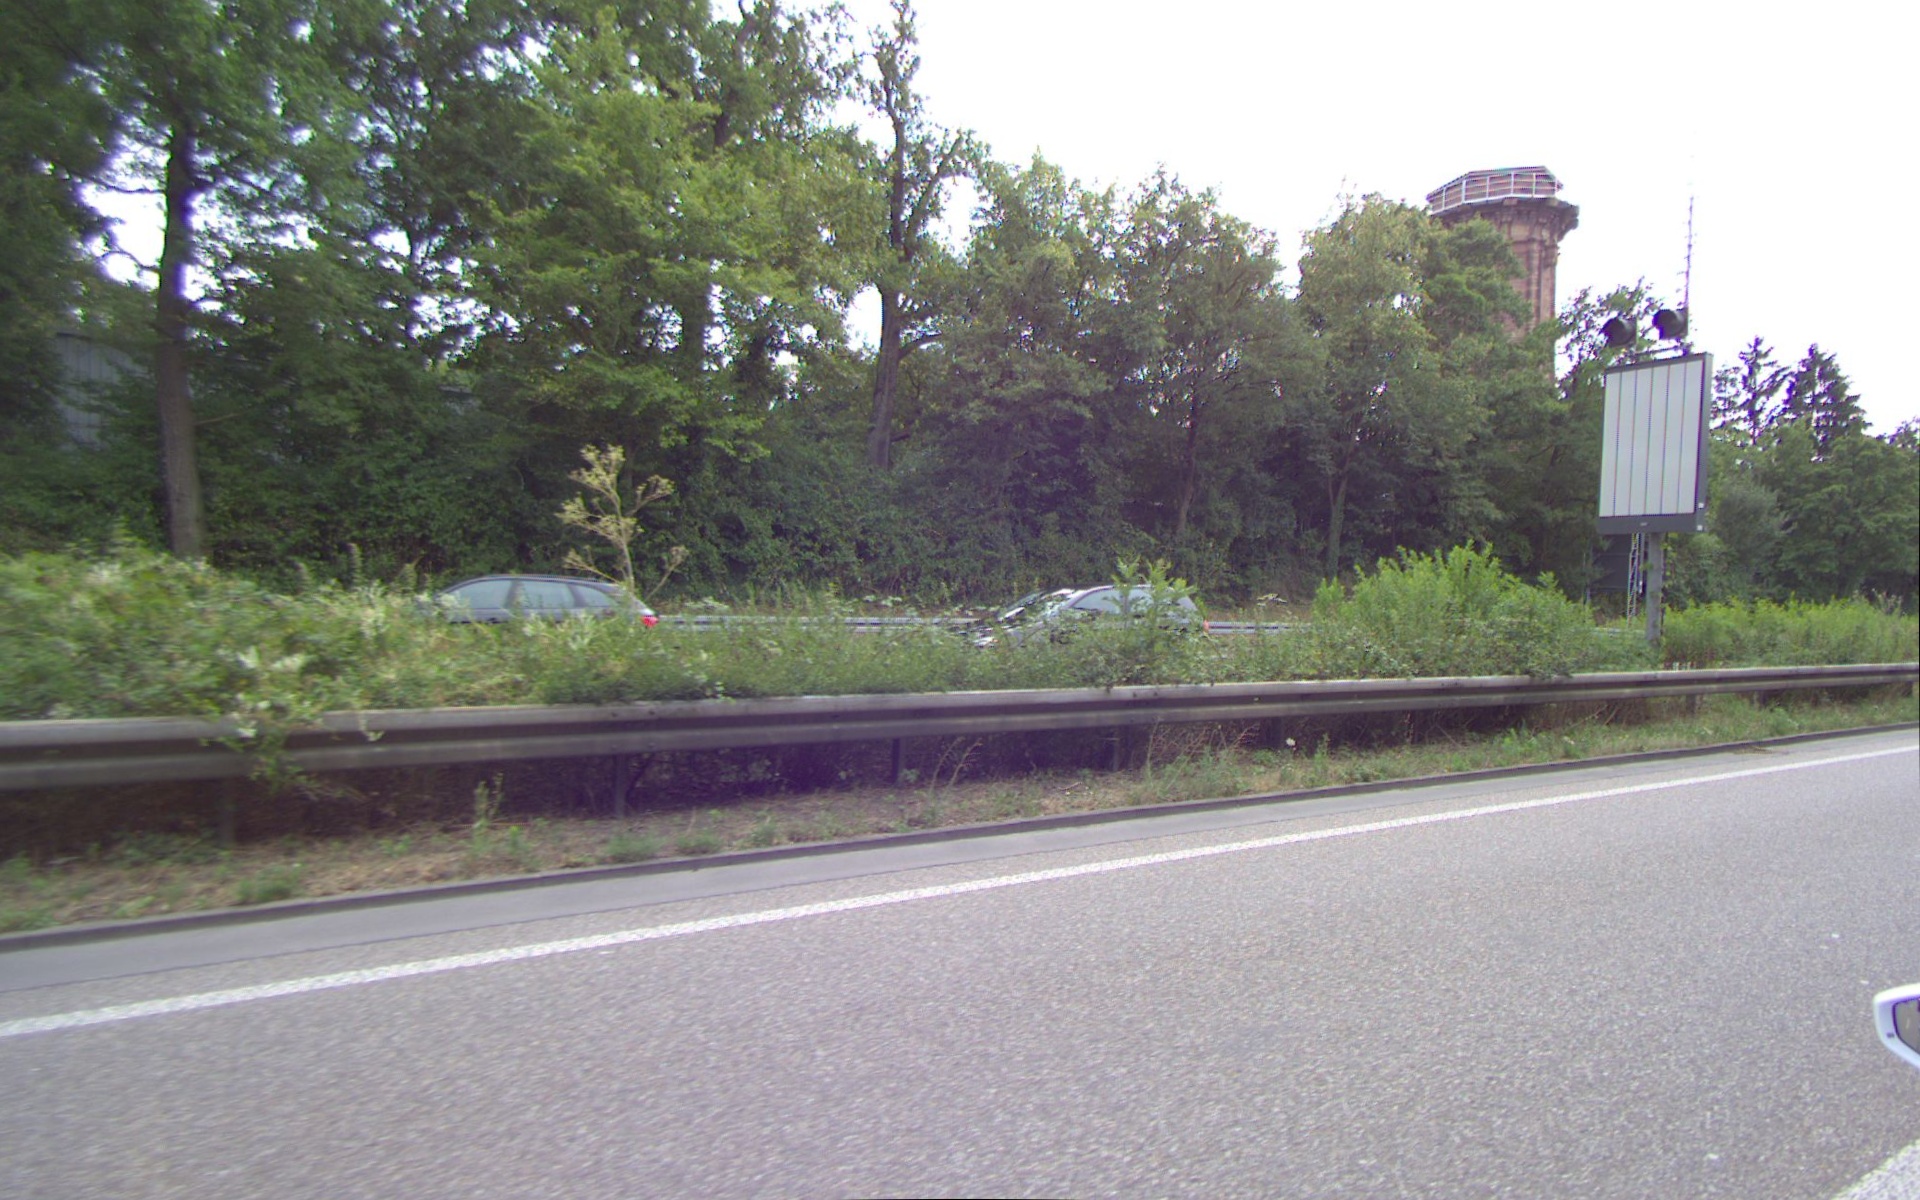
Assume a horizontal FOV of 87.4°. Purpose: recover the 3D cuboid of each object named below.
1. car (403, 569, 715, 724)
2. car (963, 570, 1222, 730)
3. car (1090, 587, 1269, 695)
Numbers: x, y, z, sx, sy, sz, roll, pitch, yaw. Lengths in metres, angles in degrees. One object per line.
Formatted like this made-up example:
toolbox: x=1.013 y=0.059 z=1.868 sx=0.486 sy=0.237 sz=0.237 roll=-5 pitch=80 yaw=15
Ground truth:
car: x=-5.486 y=0.605 z=13.789 sx=3.739 sy=1.849 sz=1.884 roll=2 pitch=-1 yaw=-30
car: x=1.850 y=0.662 z=13.835 sx=3.323 sy=1.969 sz=1.452 roll=2 pitch=-1 yaw=-30
car: x=4.339 y=0.797 z=19.809 sx=3.323 sy=1.969 sz=1.452 roll=2 pitch=-1 yaw=-30
